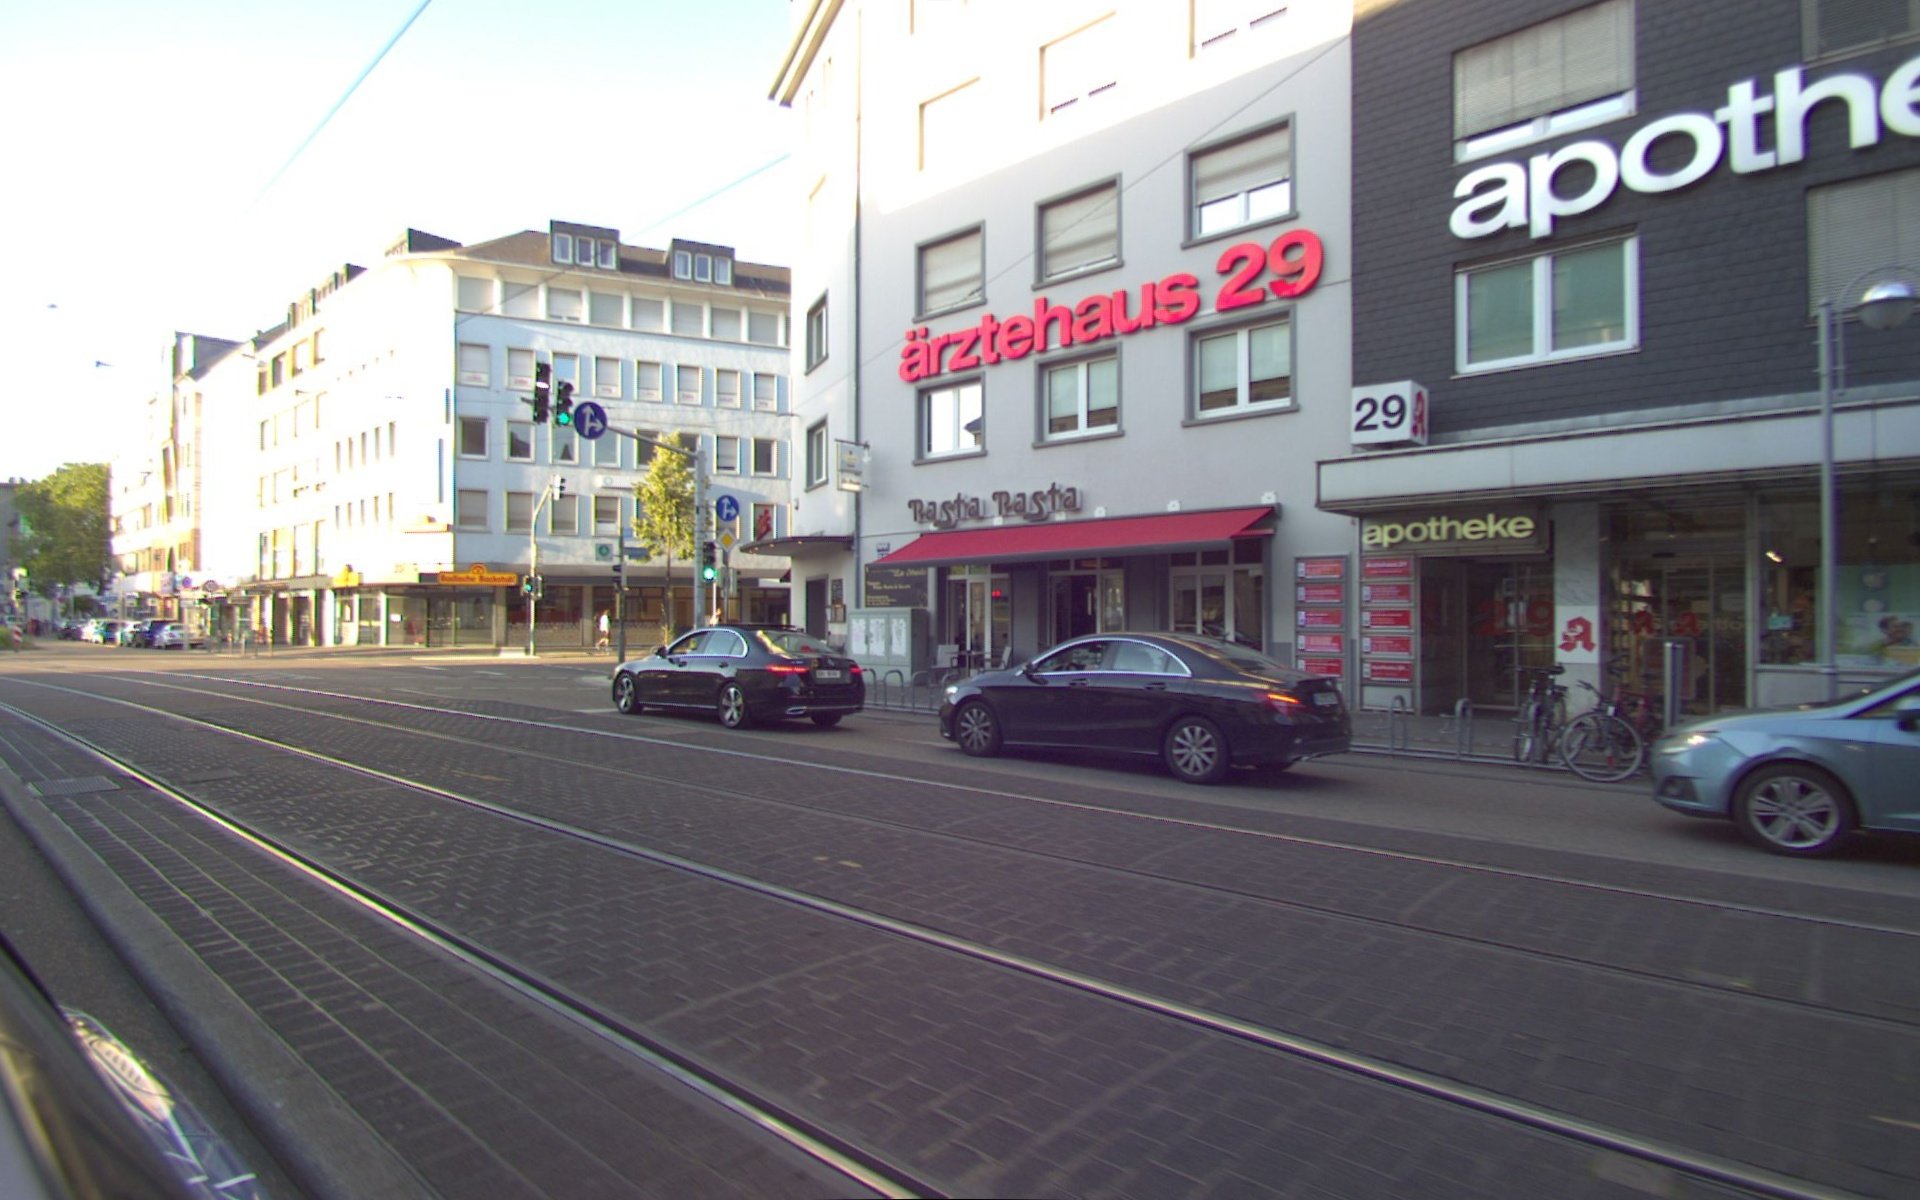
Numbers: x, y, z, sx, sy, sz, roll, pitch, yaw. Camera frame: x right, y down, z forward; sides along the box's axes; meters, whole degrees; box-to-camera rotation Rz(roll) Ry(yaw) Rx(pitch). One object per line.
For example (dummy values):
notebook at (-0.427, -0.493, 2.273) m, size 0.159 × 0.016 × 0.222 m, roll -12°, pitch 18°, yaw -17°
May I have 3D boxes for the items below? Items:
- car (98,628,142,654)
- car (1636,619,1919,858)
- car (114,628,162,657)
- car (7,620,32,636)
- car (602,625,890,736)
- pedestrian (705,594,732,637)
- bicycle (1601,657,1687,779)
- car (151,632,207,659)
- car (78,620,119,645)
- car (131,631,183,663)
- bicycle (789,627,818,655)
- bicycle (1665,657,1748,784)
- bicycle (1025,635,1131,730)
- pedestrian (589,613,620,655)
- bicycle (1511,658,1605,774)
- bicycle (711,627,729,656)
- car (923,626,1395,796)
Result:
car at (-54.416, 2.636, 65.557) m, size 1.822 × 1.647 × 4.002 m, roll 1°, pitch -2°, yaw -45°
car at (6.680, 0.846, 6.143) m, size 4.061 × 1.397 × 1.739 m, roll -1°, pitch -4°, yaw 43°
car at (-49.096, 2.506, 60.395) m, size 1.822 × 1.647 × 4.002 m, roll 1°, pitch -2°, yaw -45°
car at (-101.935, 3.021, 109.638) m, size 1.822 × 1.647 × 4.002 m, roll 1°, pitch -2°, yaw -45°
car at (-3.291, 1.101, 15.014) m, size 4.563 × 1.397 × 1.894 m, roll -1°, pitch -4°, yaw 43°
pedestrian at (-10.732, 0.687, 45.012) m, size 0.981 × 1.901 × 0.805 m, roll 0°, pitch 0°, yaw 4°
bicycle at (7.005, 1.158, 10.335) m, size 0.462 × 0.991 × 1.836 m, roll -1°, pitch 1°, yaw 42°
car at (-40.790, 2.366, 52.854) m, size 1.822 × 1.304 × 4.002 m, roll 1°, pitch -2°, yaw -45°
car at (-58.694, 2.178, 68.905) m, size 1.822 × 1.647 × 4.002 m, roll 1°, pitch -2°, yaw -45°
car at (-44.384, 2.561, 55.922) m, size 1.822 × 1.647 × 4.002 m, roll 1°, pitch -2°, yaw -45°
bicycle at (-6.882, 1.797, 44.515) m, size 0.462 × 1.213 × 1.924 m, roll 1°, pitch -2°, yaw -34°
bicycle at (7.387, 1.139, 9.989) m, size 0.462 × 0.991 × 1.836 m, roll -1°, pitch 1°, yaw 42°
bicycle at (1.815, 1.209, 15.291) m, size 0.607 × 1.236 × 1.836 m, roll -1°, pitch 1°, yaw 42°
pedestrian at (-15.033, 1.434, 42.788) m, size 0.981 × 1.739 × 0.805 m, roll 0°, pitch 0°, yaw 4°
bicycle at (6.398, 1.188, 10.789) m, size 0.492 × 0.991 × 1.836 m, roll -1°, pitch 1°, yaw 42°
bicycle at (-10.186, 1.749, 42.880) m, size 0.462 × 1.213 × 1.925 m, roll 1°, pitch -2°, yaw -22°
car at (1.895, 1.008, 10.635) m, size 4.563 × 1.397 × 1.894 m, roll -1°, pitch -4°, yaw 43°
